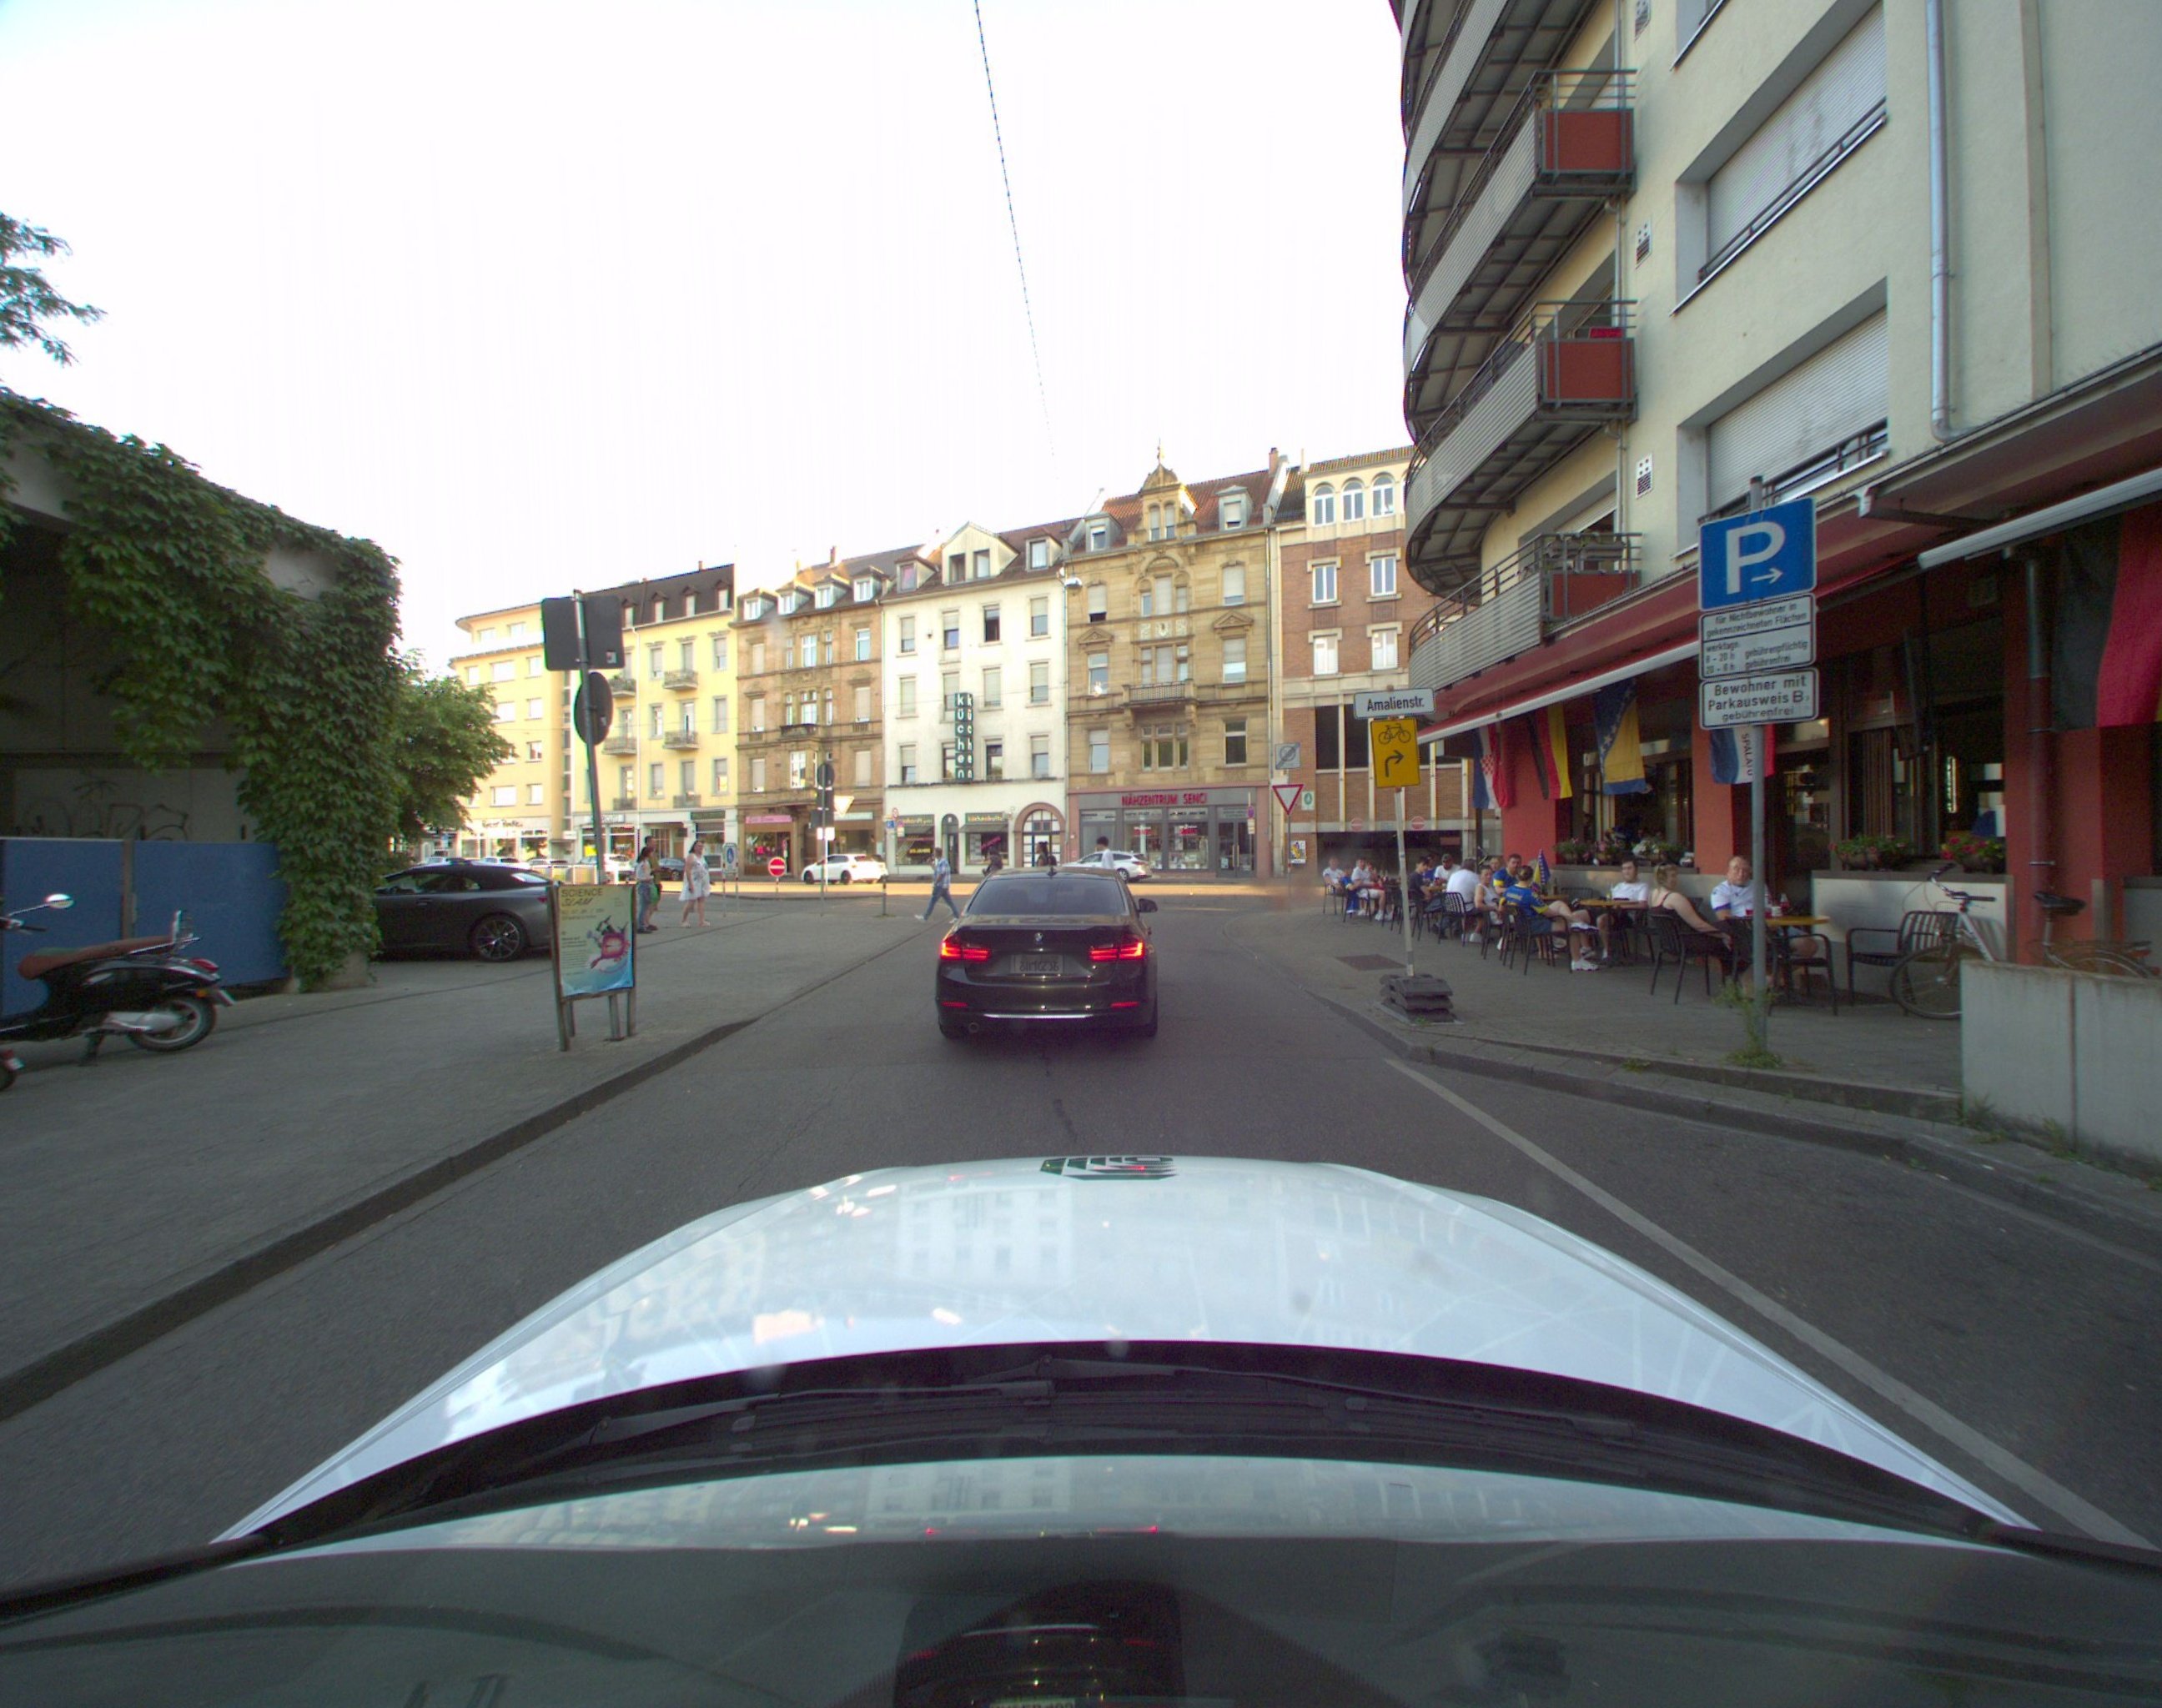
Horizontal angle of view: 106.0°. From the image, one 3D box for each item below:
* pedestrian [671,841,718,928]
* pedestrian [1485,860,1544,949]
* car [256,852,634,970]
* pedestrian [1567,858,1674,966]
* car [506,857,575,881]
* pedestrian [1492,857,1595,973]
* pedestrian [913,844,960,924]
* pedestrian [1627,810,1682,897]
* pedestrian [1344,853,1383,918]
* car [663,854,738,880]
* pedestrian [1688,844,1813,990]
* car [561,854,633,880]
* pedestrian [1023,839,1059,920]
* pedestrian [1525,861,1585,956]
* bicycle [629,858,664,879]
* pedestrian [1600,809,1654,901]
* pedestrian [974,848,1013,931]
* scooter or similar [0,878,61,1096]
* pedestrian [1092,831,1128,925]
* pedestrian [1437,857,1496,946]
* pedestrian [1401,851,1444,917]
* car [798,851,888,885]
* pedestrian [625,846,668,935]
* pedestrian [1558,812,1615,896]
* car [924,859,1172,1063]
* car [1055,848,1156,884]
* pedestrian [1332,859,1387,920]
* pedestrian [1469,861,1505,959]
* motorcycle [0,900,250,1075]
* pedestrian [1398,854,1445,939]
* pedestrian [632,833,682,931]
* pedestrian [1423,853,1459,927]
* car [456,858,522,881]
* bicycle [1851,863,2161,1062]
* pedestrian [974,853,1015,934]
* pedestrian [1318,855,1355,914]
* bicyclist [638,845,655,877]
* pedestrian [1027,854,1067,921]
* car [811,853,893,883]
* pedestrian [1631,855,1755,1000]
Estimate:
[{"bbox_3d":[-7.928,0.607,16.706,0.661,1.746,0.666,-1,0,-44],"label":"pedestrian"},{"bbox_3d":[6.150,0.709,11.561,0.421,1.201,0.562,-3,0,-42],"label":"pedestrian"},{"bbox_3d":[-9.228,0.767,12.187,3.985,1.501,1.886,-1,0,-9],"label":"car"},{"bbox_3d":[6.576,0.680,9.962,0.776,1.223,0.714,-4,0,0],"label":"pedestrian"},{"bbox_3d":[-35.136,0.957,52.938,3.952,1.510,1.810,-1,-1,22],"label":"car"},{"bbox_3d":[5.378,0.691,9.498,0.856,1.257,0.491,-4,0,-1],"label":"pedestrian"},{"bbox_3d":[-3.223,0.652,18.181,0.891,1.725,0.609,1,2,6],"label":"pedestrian"},{"bbox_3d":[10.925,-0.009,15.512,0.692,1.607,0.707,1,0,-42],"label":"pedestrian"},{"bbox_3d":[5.737,0.634,16.581,0.613,1.284,0.661,-1,0,8],"label":"pedestrian"},{"bbox_3d":[-22.649,0.786,48.515,3.952,1.510,1.810,-1,-1,22],"label":"car"},{"bbox_3d":[6.508,0.586,7.947,0.605,1.348,0.696,-2,0,-1],"label":"pedestrian"},{"bbox_3d":[-30.063,0.797,50.558,3.952,1.510,1.810,-1,-1,22],"label":"car"},{"bbox_3d":[-0.862,0.547,17.801,0.664,1.746,0.607,-1,0,6],"label":"pedestrian"},{"bbox_3d":[6.306,0.710,10.836,0.421,1.201,0.531,-3,0,-43],"label":"pedestrian"},{"bbox_3d":[-23.730,0.802,44.510,1.781,1.107,0.540,0,0,15],"label":"bicycle"},{"bbox_3d":[9.862,0.016,14.717,0.533,1.607,0.605,1,0,-21],"label":"pedestrian"},{"bbox_3d":[-1.758,0.698,16.238,0.724,1.609,0.648,1,0,-9],"label":"pedestrian"},{"bbox_3d":[-7.007,0.785,4.792,1.207,1.274,0.420,1,0,-16],"label":"scooter or similar"},{"bbox_3d":[0.601,0.481,16.748,0.695,1.877,0.679,0,0,6],"label":"pedestrian"},{"bbox_3d":[5.818,0.701,12.286,0.631,1.276,0.505,-3,0,-38],"label":"pedestrian"},{"bbox_3d":[6.844,0.586,16.315,0.611,1.279,0.705,-1,0,37],"label":"pedestrian"},{"bbox_3d":[-11.286,0.656,38.602,3.948,1.473,1.895,-1,0,31],"label":"car"},{"bbox_3d":[-8.183,0.671,15.351,0.498,1.643,0.521,-1,0,2],"label":"pedestrian"},{"bbox_3d":[9.912,0.006,15.973,0.717,1.607,0.682,1,0,-27],"label":"pedestrian"},{"bbox_3d":[-0.212,0.780,8.180,1.759,1.375,4.790,0,0,0],"label":"car"},{"bbox_3d":[1.147,0.557,37.942,4.313,1.562,1.878,-1,-1,22],"label":"car"},{"bbox_3d":[5.426,0.684,15.895,0.885,1.149,0.620,-1,0,7],"label":"pedestrian"},{"bbox_3d":[5.341,0.734,10.725,0.340,1.257,0.362,-4,0,24],"label":"pedestrian"},{"bbox_3d":[-7.131,0.901,5.687,1.758,1.101,0.561,1,0,-35],"label":"motorcycle"},{"bbox_3d":[5.442,0.665,13.030,0.489,1.303,0.418,-3,0,0],"label":"pedestrian"},{"bbox_3d":[-8.306,0.542,15.978,0.580,1.882,0.634,-1,0,5],"label":"pedestrian"},{"bbox_3d":[6.404,0.628,14.511,0.486,1.276,0.523,-1,0,13],"label":"pedestrian"},{"bbox_3d":[-40.374,1.036,55.546,3.952,1.510,1.810,-1,-1,22],"label":"car"},{"bbox_3d":[6.509,0.661,5.655,0.534,1.154,1.740,-2,-2,-4],"label":"bicycle"},{"bbox_3d":[-1.656,0.745,15.555,0.735,1.513,0.648,1,0,-9],"label":"pedestrian"},{"bbox_3d":[5.575,0.650,17.794,0.614,1.254,0.736,-1,0,6],"label":"pedestrian"},{"bbox_3d":[-23.738,0.370,44.515,0.613,1.756,0.527,0,0,15],"label":"bicyclist"},{"bbox_3d":[-0.758,0.759,18.491,0.812,1.474,0.607,-1,0,4],"label":"pedestrian"},{"bbox_3d":[-12.279,0.764,43.678,3.952,1.510,1.810,-1,-1,22],"label":"car"},{"bbox_3d":[5.680,0.665,7.591,0.683,1.286,0.610,-2,-1,9],"label":"pedestrian"}]
